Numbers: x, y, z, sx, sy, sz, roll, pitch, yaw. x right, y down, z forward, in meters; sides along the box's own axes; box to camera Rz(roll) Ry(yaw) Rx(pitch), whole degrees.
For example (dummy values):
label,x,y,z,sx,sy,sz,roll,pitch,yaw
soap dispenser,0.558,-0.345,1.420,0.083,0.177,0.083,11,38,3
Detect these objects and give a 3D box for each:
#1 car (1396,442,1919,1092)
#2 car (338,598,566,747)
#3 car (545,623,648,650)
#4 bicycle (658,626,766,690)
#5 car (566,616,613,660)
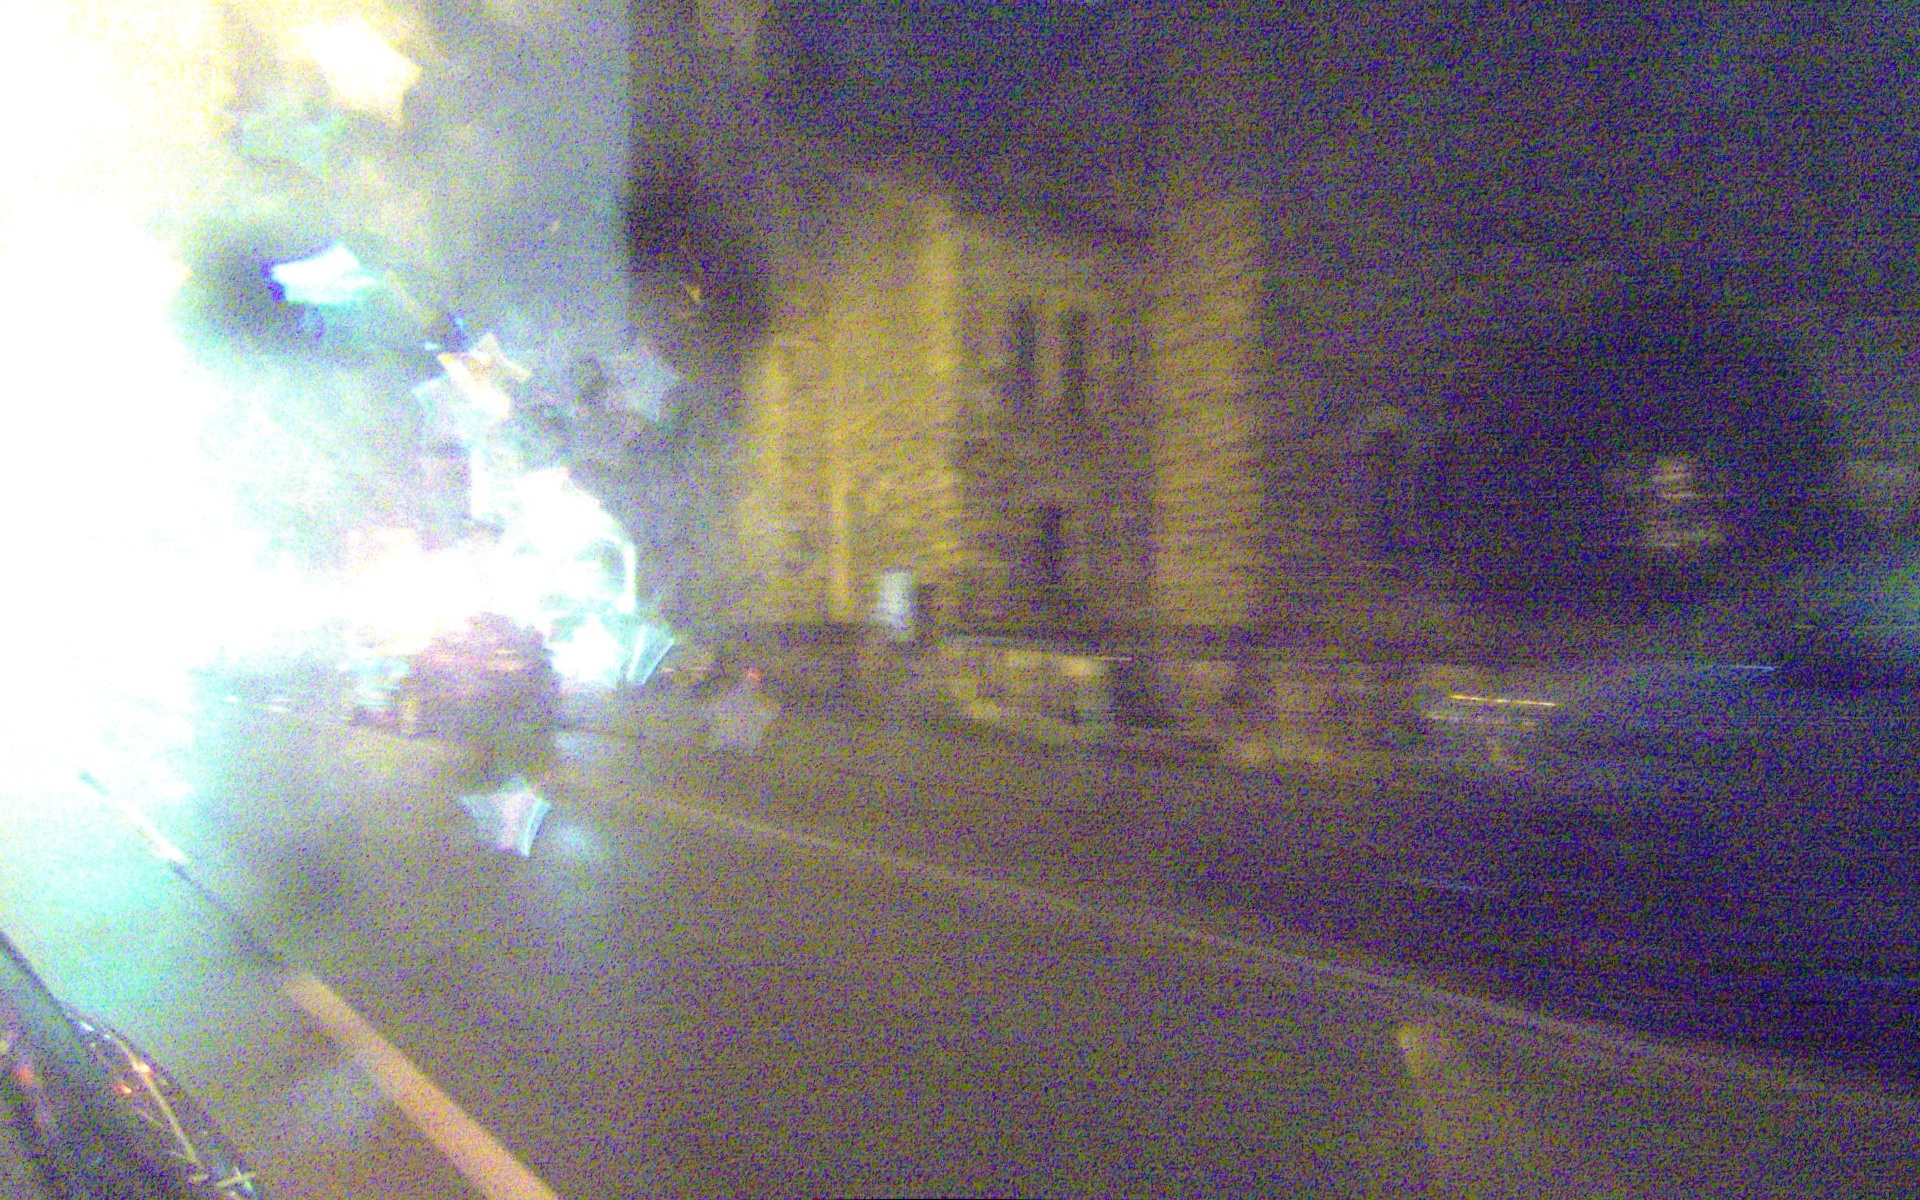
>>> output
label,x,y,z,sx,sy,sz,roll,pitch,yaw
car,4.056,0.475,2.890,1.845,1.860,4.830,2,-2,-45
car,-7.016,0.882,13.727,1.789,1.683,4.418,1,-2,-40
car,-19.353,1.947,54.109,4.983,1.436,2.005,1,-2,-14
bicycle,-4.756,1.093,19.497,1.937,1.189,0.543,1,-2,-28
car,-15.515,1.621,42.287,1.671,1.741,4.013,2,-3,-22
